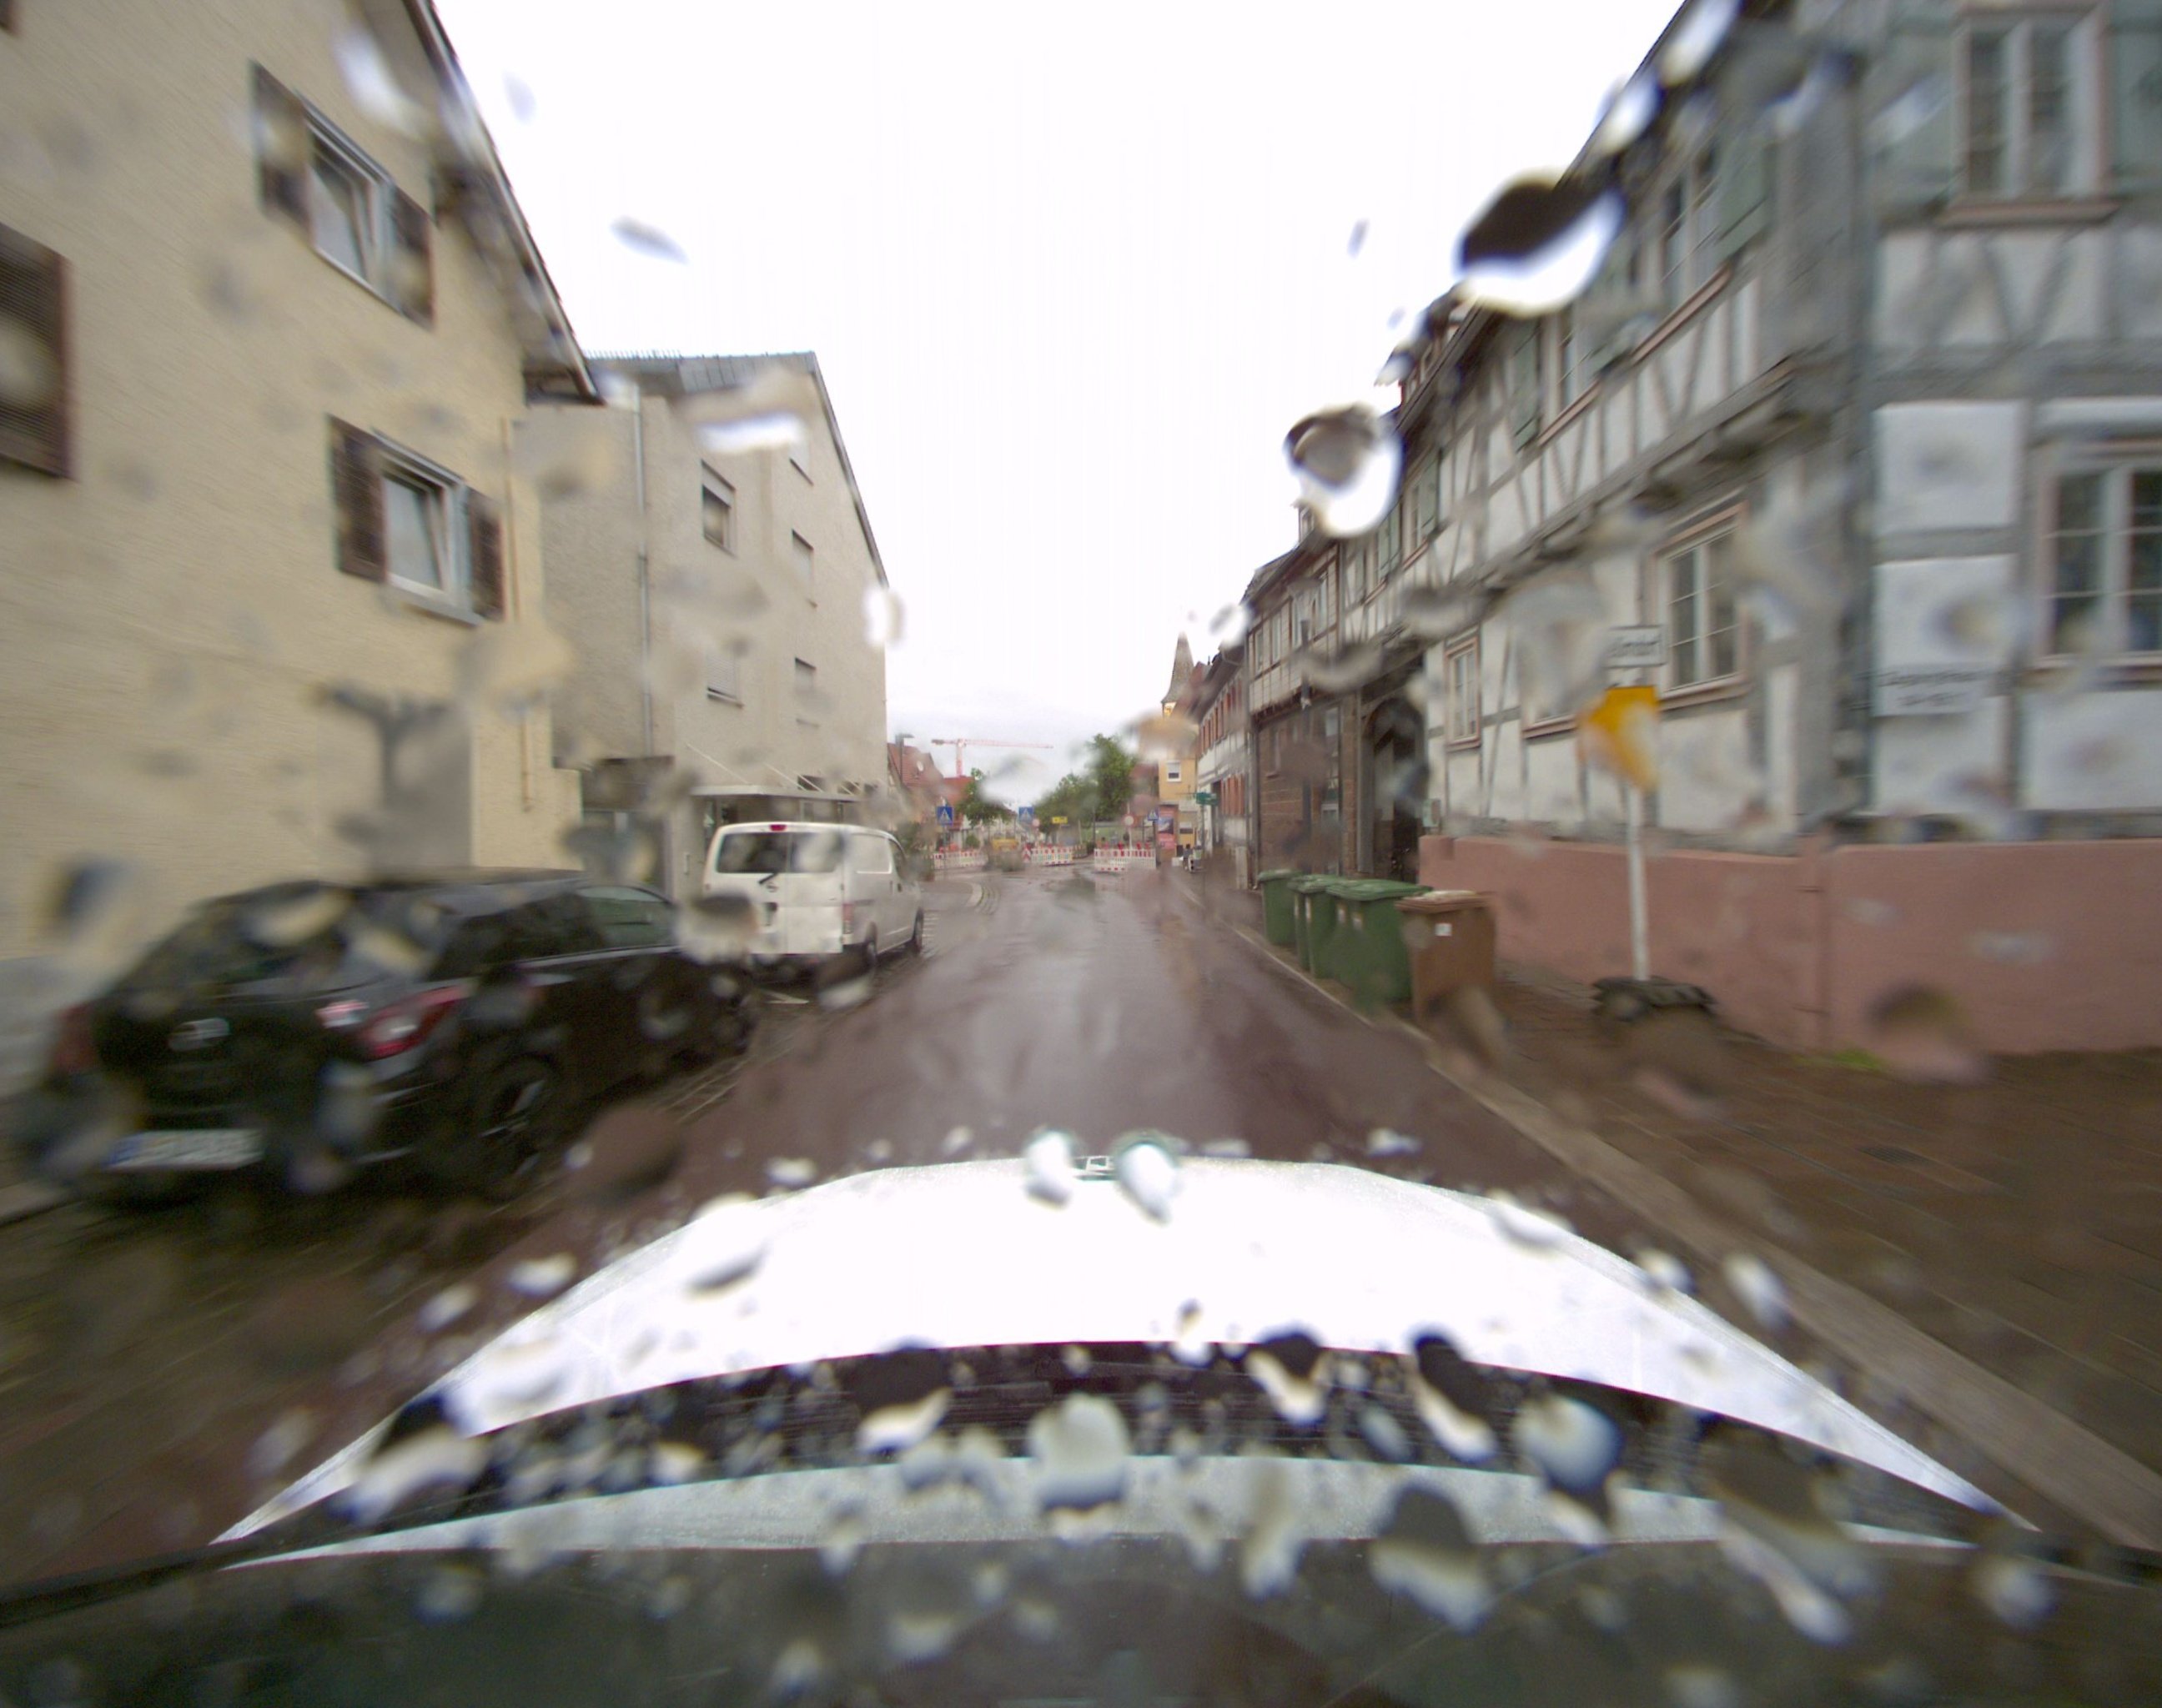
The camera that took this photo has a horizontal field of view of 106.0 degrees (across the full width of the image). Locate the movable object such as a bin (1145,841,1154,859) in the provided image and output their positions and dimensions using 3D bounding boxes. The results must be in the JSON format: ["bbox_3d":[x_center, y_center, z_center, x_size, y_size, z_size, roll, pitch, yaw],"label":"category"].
[{"bbox_3d":[4.421,-0.273,52.635,0.513,1.128,0.581,-4,2,5],"label":"movable object such as a bin"}]

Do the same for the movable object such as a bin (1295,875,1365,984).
[{"bbox_3d":[2.757,0.817,9.050,0.634,1.147,0.605,-1,0,6],"label":"movable object such as a bin"}]

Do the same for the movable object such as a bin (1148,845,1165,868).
[{"bbox_3d":[3.655,0.102,39.460,0.678,1.065,0.539,-3,3,-6],"label":"movable object such as a bin"}]

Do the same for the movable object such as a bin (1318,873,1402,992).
[{"bbox_3d":[2.863,0.784,8.389,0.636,1.147,0.632,-1,0,-1],"label":"movable object such as a bin"}]

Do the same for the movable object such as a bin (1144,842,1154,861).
[{"bbox_3d":[4.236,-0.181,50.787,0.515,1.131,0.581,-4,2,5],"label":"movable object such as a bin"}]

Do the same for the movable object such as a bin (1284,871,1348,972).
[{"bbox_3d":[2.793,0.786,9.708,0.634,1.147,0.581,-1,0,6],"label":"movable object such as a bin"}]

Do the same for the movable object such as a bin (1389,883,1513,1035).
[{"bbox_3d":[2.894,0.797,6.427,0.676,1.096,0.650,0,1,-2],"label":"movable object such as a bin"}]

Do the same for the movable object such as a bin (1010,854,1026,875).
[{"bbox_3d":[-3.181,0.510,41.215,0.538,1.033,0.538,-4,-1,34],"label":"movable object such as a bin"}]

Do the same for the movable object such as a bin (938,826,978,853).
[{"bbox_3d":[-9.909,-1.140,65.995,1.893,2.013,4.012,-3,0,10],"label":"movable object such as a bin"}]

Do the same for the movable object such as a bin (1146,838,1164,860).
[{"bbox_3d":[5.223,-0.359,57.484,1.059,1.512,1.245,-4,1,9],"label":"movable object such as a bin"}]

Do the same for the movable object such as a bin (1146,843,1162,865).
[{"bbox_3d":[3.591,-0.015,40.149,0.611,1.066,0.542,-3,0,18],"label":"movable object such as a bin"}]

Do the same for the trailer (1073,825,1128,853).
[{"bbox_3d":[2.121,-1.622,88.117,5.769,2.947,1.997,-1,0,-4],"label":"trailer"}]

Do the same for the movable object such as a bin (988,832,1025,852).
[{"bbox_3d":[-7.854,-1.279,86.526,3.388,2.013,3.481,-1,0,2],"label":"movable object such as a bin"}]

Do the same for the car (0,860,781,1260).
[{"bbox_3d":[-3.328,0.774,4.936,1.676,1.389,3.823,-1,0,-2],"label":"car"}]

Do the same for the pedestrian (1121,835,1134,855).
[{"bbox_3d":[3.926,-0.769,69.533,0.988,1.758,0.850,-1,0,-5],"label":"pedestrian"}]

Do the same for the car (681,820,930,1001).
[{"bbox_3d":[-3.220,0.555,10.523,1.718,1.825,4.427,-1,0,-1],"label":"car"}]

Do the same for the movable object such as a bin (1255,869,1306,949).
[{"bbox_3d":[2.913,0.792,11.945,0.607,1.127,0.600,-1,0,1],"label":"movable object such as a bin"}]

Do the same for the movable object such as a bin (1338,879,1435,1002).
[{"bbox_3d":[2.883,0.797,7.724,0.667,1.081,0.587,-2,0,-1],"label":"movable object such as a bin"}]

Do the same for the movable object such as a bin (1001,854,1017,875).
[{"bbox_3d":[-3.694,0.547,41.558,0.535,1.037,0.576,-3,-1,34],"label":"movable object such as a bin"}]
